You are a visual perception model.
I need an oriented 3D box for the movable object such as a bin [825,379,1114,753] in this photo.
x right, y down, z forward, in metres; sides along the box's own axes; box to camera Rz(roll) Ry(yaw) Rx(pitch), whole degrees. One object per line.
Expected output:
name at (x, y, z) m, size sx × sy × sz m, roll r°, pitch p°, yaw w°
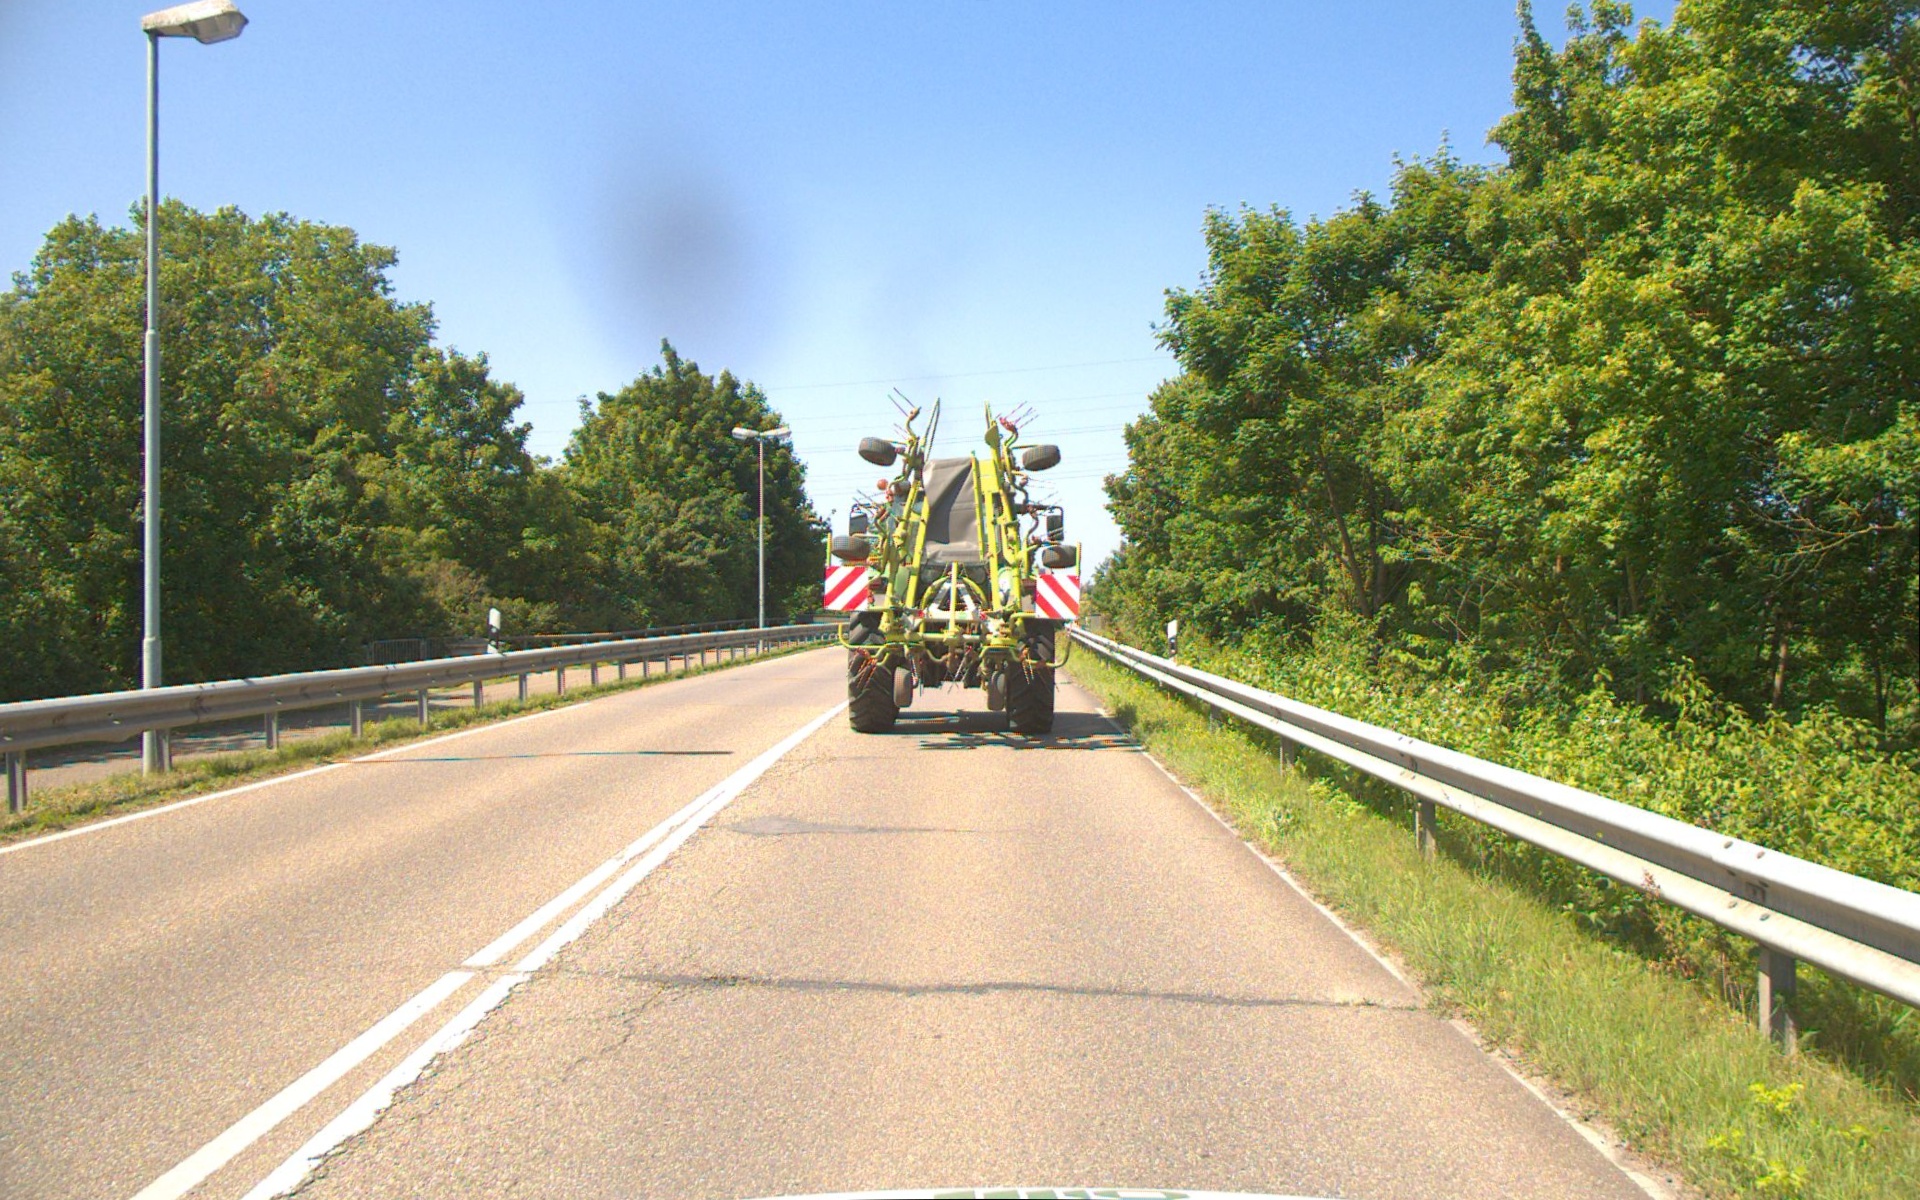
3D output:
movable object such as a bin at (-0.023, -0.329, 18.396) m, size 2.700 × 3.504 × 5.667 m, roll 0°, pitch 0°, yaw -3°
